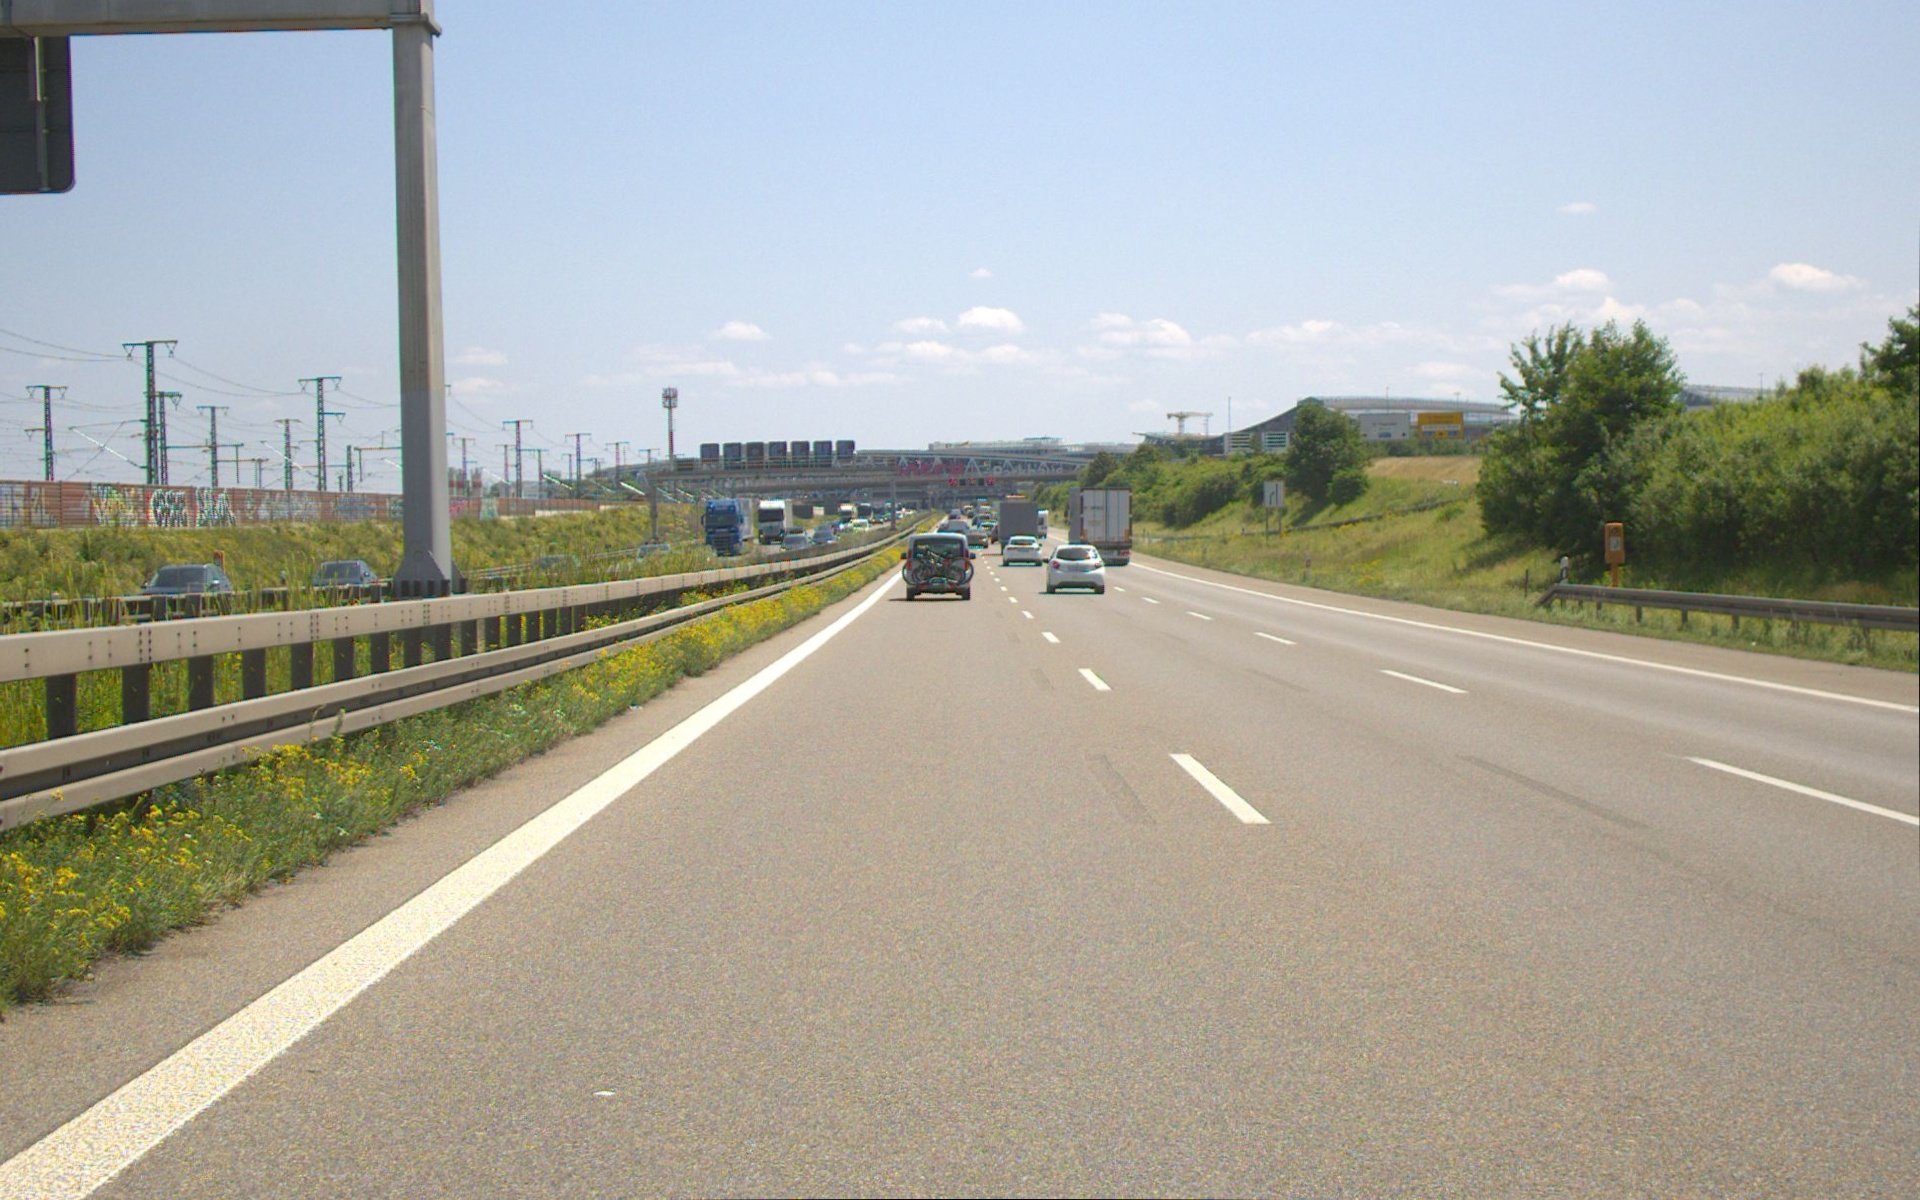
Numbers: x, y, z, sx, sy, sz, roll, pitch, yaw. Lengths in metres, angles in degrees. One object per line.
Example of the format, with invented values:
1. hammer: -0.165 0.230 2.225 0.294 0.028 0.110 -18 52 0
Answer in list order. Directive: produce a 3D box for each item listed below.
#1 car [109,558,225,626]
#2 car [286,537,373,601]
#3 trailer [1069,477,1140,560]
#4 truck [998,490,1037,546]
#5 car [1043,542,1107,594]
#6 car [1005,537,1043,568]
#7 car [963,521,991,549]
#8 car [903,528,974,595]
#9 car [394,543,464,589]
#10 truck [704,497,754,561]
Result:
1. car: -20.888 -0.238 90.734 1.993 1.720 4.513 0 1 1
2. car: -20.355 -0.983 111.162 1.993 2.007 4.309 1 0 0
3. trailer: 7.337 -4.190 176.231 3.177 4.045 9.440 -1 2 0
4. truck: 3.556 -5.130 214.472 2.355 3.404 6.058 0 2 0
5. car: 3.500 -0.981 104.443 1.881 1.521 4.000 0 1 3
6. car: 3.168 -2.379 170.600 1.881 1.521 4.000 0 1 1
7. car: 1.218 -4.643 247.507 1.993 2.007 4.000 0 1 -1
8. car: -0.568 -1.052 93.825 1.881 1.769 4.000 -1 1 0
9. car: -20.360 -1.319 131.925 1.993 1.720 4.513 0 1 0
10. truck: -16.426 -5.054 244.684 2.888 4.392 7.503 -2 1 0
